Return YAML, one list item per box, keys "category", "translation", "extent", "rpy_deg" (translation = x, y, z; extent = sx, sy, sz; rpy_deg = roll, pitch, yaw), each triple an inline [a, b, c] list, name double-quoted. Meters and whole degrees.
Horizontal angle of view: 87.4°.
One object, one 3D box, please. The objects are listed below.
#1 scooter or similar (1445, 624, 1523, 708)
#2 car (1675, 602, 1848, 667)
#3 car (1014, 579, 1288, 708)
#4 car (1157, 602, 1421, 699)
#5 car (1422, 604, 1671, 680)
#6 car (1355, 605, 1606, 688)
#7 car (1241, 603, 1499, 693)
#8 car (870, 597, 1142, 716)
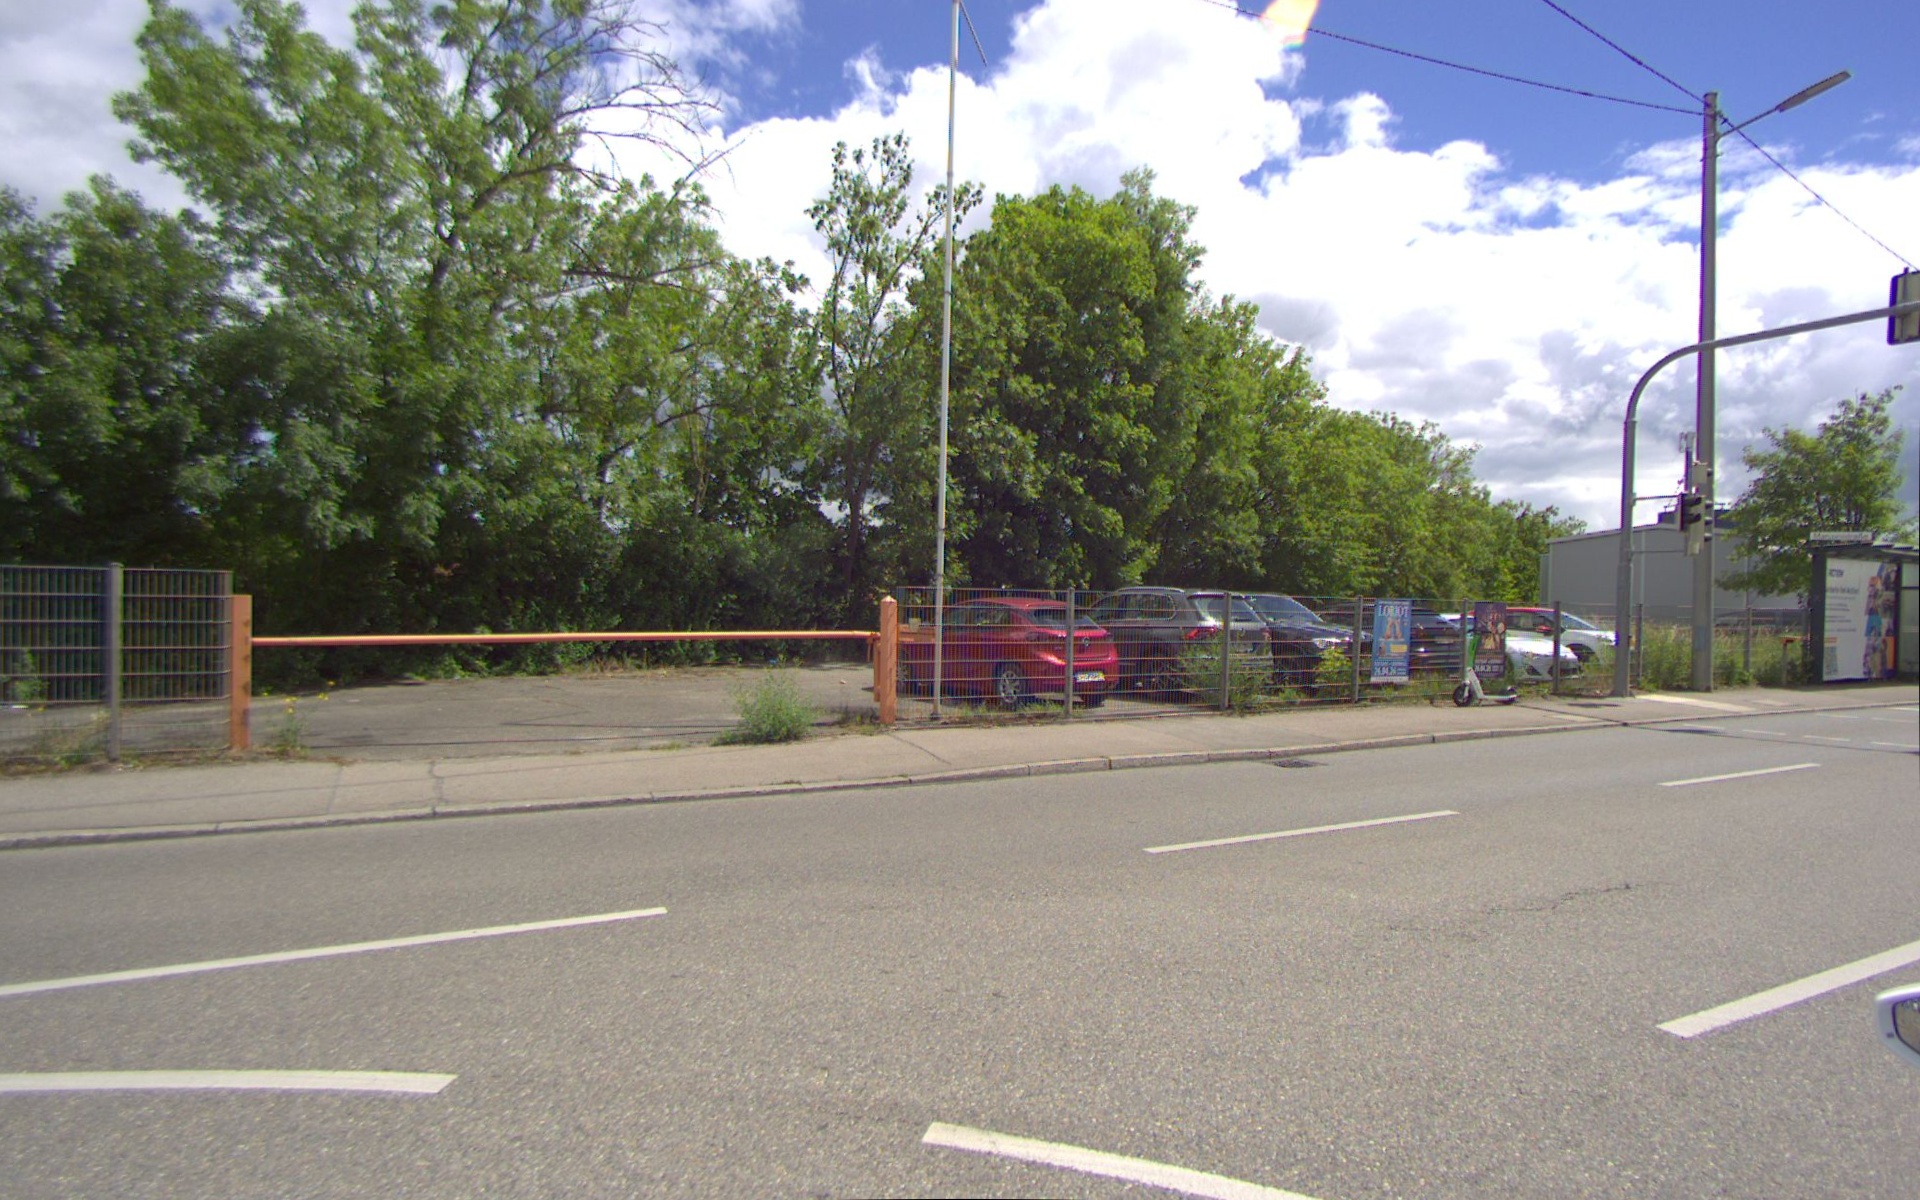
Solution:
- category: "scooter or similar"
  translation: [7.961, 0.990, 15.258]
  extent: [1.111, 1.227, 0.422]
  rpy_deg: [1, 2, -26]
- category: "car"
  translation: [27.411, 1.135, 34.470]
  extent: [2.121, 2.040, 4.245]
  rpy_deg: [2, -1, -37]
- category: "car"
  translation: [2.873, 0.603, 15.925]
  extent: [1.979, 1.758, 4.077]
  rpy_deg: [1, 0, -34]
- category: "car"
  translation: [5.541, 0.779, 17.421]
  extent: [1.977, 1.438, 4.082]
  rpy_deg: [1, 0, -30]
- category: "car"
  translation: [12.580, 0.838, 21.855]
  extent: [1.999, 1.438, 4.293]
  rpy_deg: [1, 0, -28]
- category: "car"
  translation: [10.185, 0.841, 19.982]
  extent: [1.893, 1.438, 4.084]
  rpy_deg: [1, 0, -29]
- category: "car"
  translation: [7.510, 0.808, 18.773]
  extent: [1.978, 1.438, 4.079]
  rpy_deg: [1, 0, -32]
- category: "car"
  translation: [0.542, 0.703, 14.468]
  extent: [1.886, 1.438, 3.822]
  rpy_deg: [1, 0, -38]
